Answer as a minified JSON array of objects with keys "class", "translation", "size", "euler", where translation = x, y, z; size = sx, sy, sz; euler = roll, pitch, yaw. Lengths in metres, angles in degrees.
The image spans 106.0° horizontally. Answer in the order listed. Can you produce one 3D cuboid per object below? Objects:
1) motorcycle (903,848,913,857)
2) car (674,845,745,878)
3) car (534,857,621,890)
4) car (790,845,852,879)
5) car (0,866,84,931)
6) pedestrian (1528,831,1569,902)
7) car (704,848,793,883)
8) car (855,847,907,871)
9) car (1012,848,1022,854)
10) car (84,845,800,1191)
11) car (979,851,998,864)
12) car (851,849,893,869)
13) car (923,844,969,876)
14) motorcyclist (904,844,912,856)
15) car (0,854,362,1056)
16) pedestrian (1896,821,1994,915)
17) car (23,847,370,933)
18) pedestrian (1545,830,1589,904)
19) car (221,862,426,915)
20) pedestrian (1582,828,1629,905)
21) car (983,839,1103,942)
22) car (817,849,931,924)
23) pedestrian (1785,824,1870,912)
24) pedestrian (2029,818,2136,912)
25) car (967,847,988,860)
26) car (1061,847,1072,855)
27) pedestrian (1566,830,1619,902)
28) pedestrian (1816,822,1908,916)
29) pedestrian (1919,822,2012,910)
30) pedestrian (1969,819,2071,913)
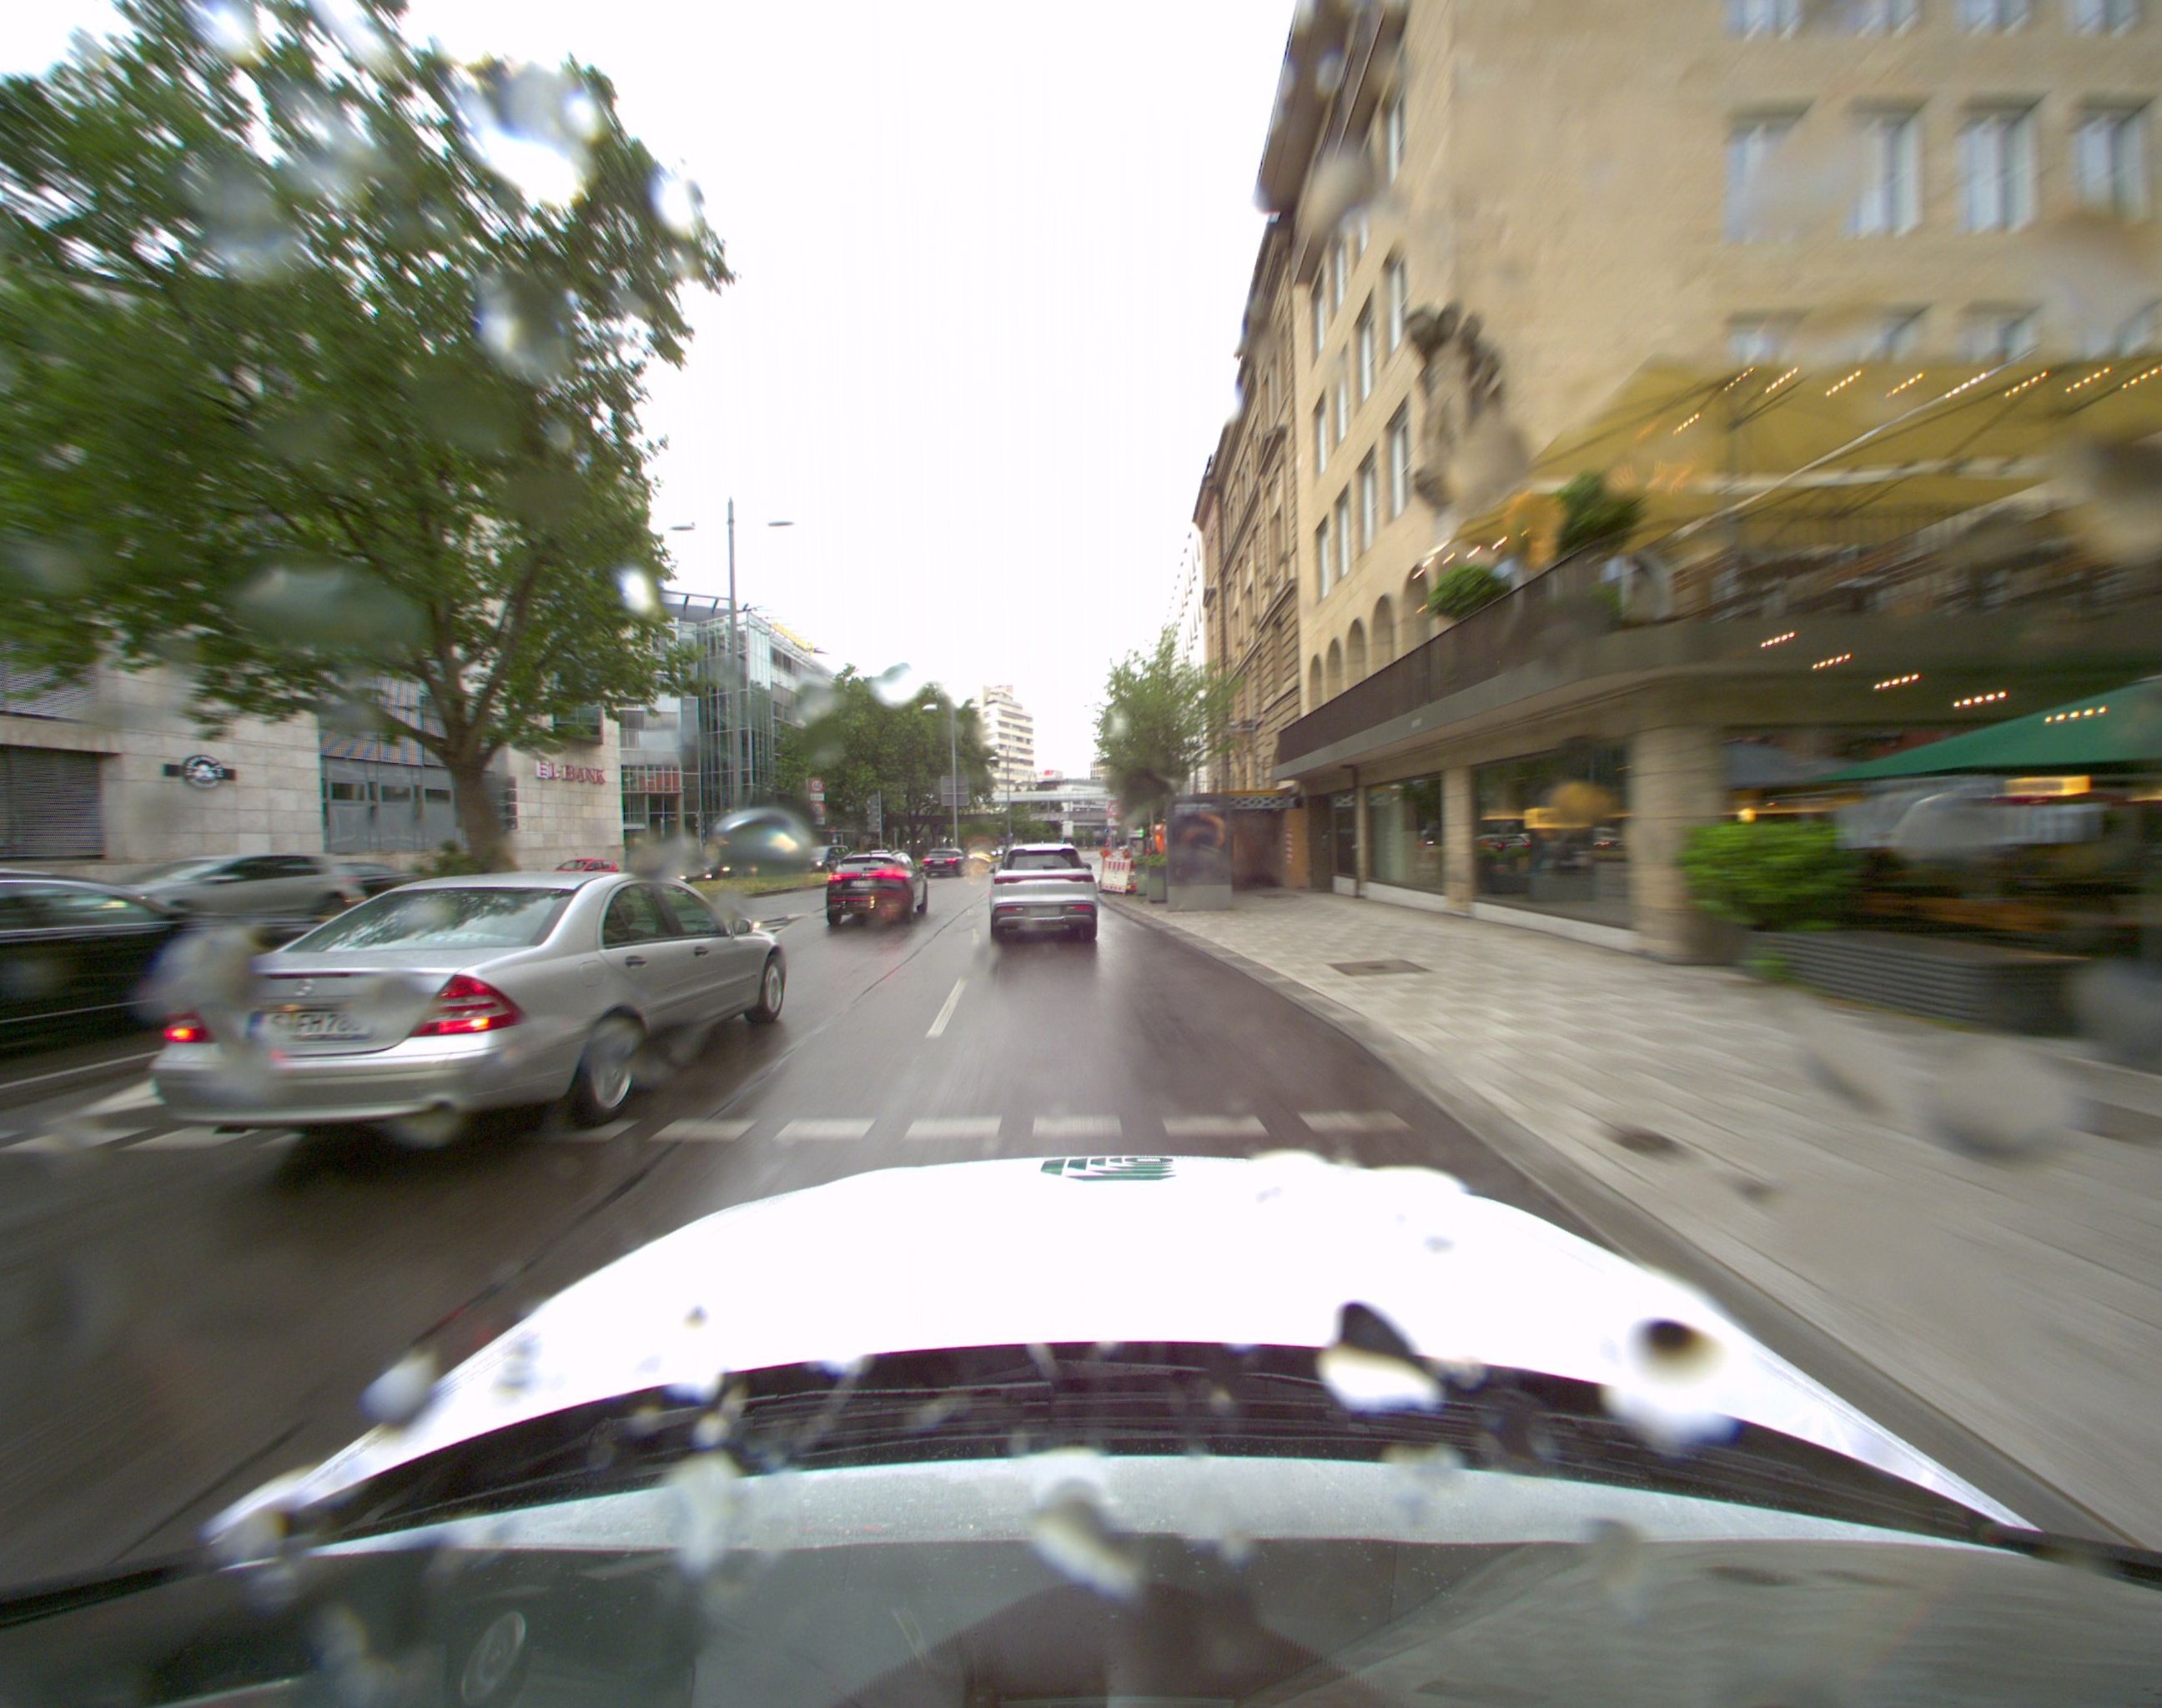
[{"class":"motorcycle","translation":[-18.050,-0.168,85.109],"size":[0.691,0.970,1.398],"euler":[0,0,3]},{"class":"car","translation":[-19.619,0.393,43.162],"size":[1.824,1.639,4.092],"euler":[-1,0,1]},{"class":"car","translation":[-22.958,0.861,37.292],"size":[1.584,1.415,3.407],"euler":[-1,0,6]},{"class":"car","translation":[-16.115,0.465,50.839],"size":[1.822,2.002,5.111],"euler":[-1,0,5]},{"class":"car","translation":[-24.920,1.013,17.391],"size":[1.738,1.415,4.302],"euler":[-1,0,7]},{"class":"pedestrian","translation":[7.225,0.180,12.598],"size":[0.328,1.073,0.479],"euler":[0,1,-7]},{"class":"car","translation":[-13.999,0.460,34.534],"size":[1.738,1.364,3.951],"euler":[-1,0,7]},{"class":"car","translation":[-12.664,0.330,51.826],"size":[1.851,1.442,4.319],"euler":[-1,0,5]},{"class":"car","translation":[-14.580,-0.615,184.744],"size":[1.589,1.360,4.121],"euler":[-1,0,4]},{"class":"car","translation":[-3.517,0.691,5.722],"size":[1.668,1.479,4.358],"euler":[1,1,-2]},{"class":"car","translation":[-12.153,0.450,107.039],"size":[1.867,1.680,4.682],"euler":[-1,0,2]},{"class":"car","translation":[-15.892,0.353,62.046],"size":[1.718,1.432,4.402],"euler":[-1,0,5]},{"class":"car","translation":[-7.001,0.280,42.598],"size":[1.806,1.578,3.999],"euler":[0,1,-1]},{"class":"motorcyclist","translation":[-18.061,-0.398,85.085],"size":[0.672,1.238,0.620],"euler":[0,0,3]},{"class":"car","translation":[-9.105,0.778,6.685],"size":[1.864,1.479,4.883],"euler":[1,1,4]},{"class":"pedestrian","translation":[9.991,0.148,9.436],"size":[0.552,1.055,0.546],"euler":[0,1,4]},{"class":"car","translation":[-16.010,0.584,15.137],"size":[1.739,1.364,4.137],"euler":[-1,0,5]},{"class":"pedestrian","translation":[7.165,0.180,12.022],"size":[0.328,1.073,0.479],"euler":[0,1,-7]},{"class":"car","translation":[-21.734,0.933,23.632],"size":[1.738,1.364,4.182],"euler":[-1,0,7]},{"class":"pedestrian","translation":[7.346,0.166,11.419],"size":[0.538,1.055,0.411],"euler":[0,1,33]},{"class":"car","translation":[-0.762,0.563,14.908],"size":[1.898,1.621,3.993],"euler":[0,1,-5]},{"class":"car","translation":[-4.471,0.651,18.145],"size":[1.771,1.457,3.993],"euler":[-1,0,-5]},{"class":"pedestrian","translation":[9.189,0.168,10.039],"size":[0.552,1.055,0.546],"euler":[0,1,4]},{"class":"pedestrian","translation":[11.537,0.122,9.400],"size":[0.552,1.055,0.546],"euler":[0,1,4]},{"class":"car","translation":[-11.659,-0.061,91.667],"size":[1.589,1.360,4.121],"euler":[-1,0,4]},{"class":"car","translation":[-2.683,-0.590,147.763],"size":[1.646,1.342,4.004],"euler":[0,1,3]},{"class":"pedestrian","translation":[7.778,0.170,12.384],"size":[0.432,1.073,0.538],"euler":[0,1,-11]},{"class":"pedestrian","translation":[9.022,0.165,9.426],"size":[0.552,1.055,0.546],"euler":[0,1,4]},{"class":"pedestrian","translation":[10.904,0.134,10.057],"size":[0.552,1.055,0.546],"euler":[0,1,4]},{"class":"pedestrian","translation":[10.883,0.133,9.453],"size":[0.552,1.055,0.546],"euler":[0,1,4]}]
